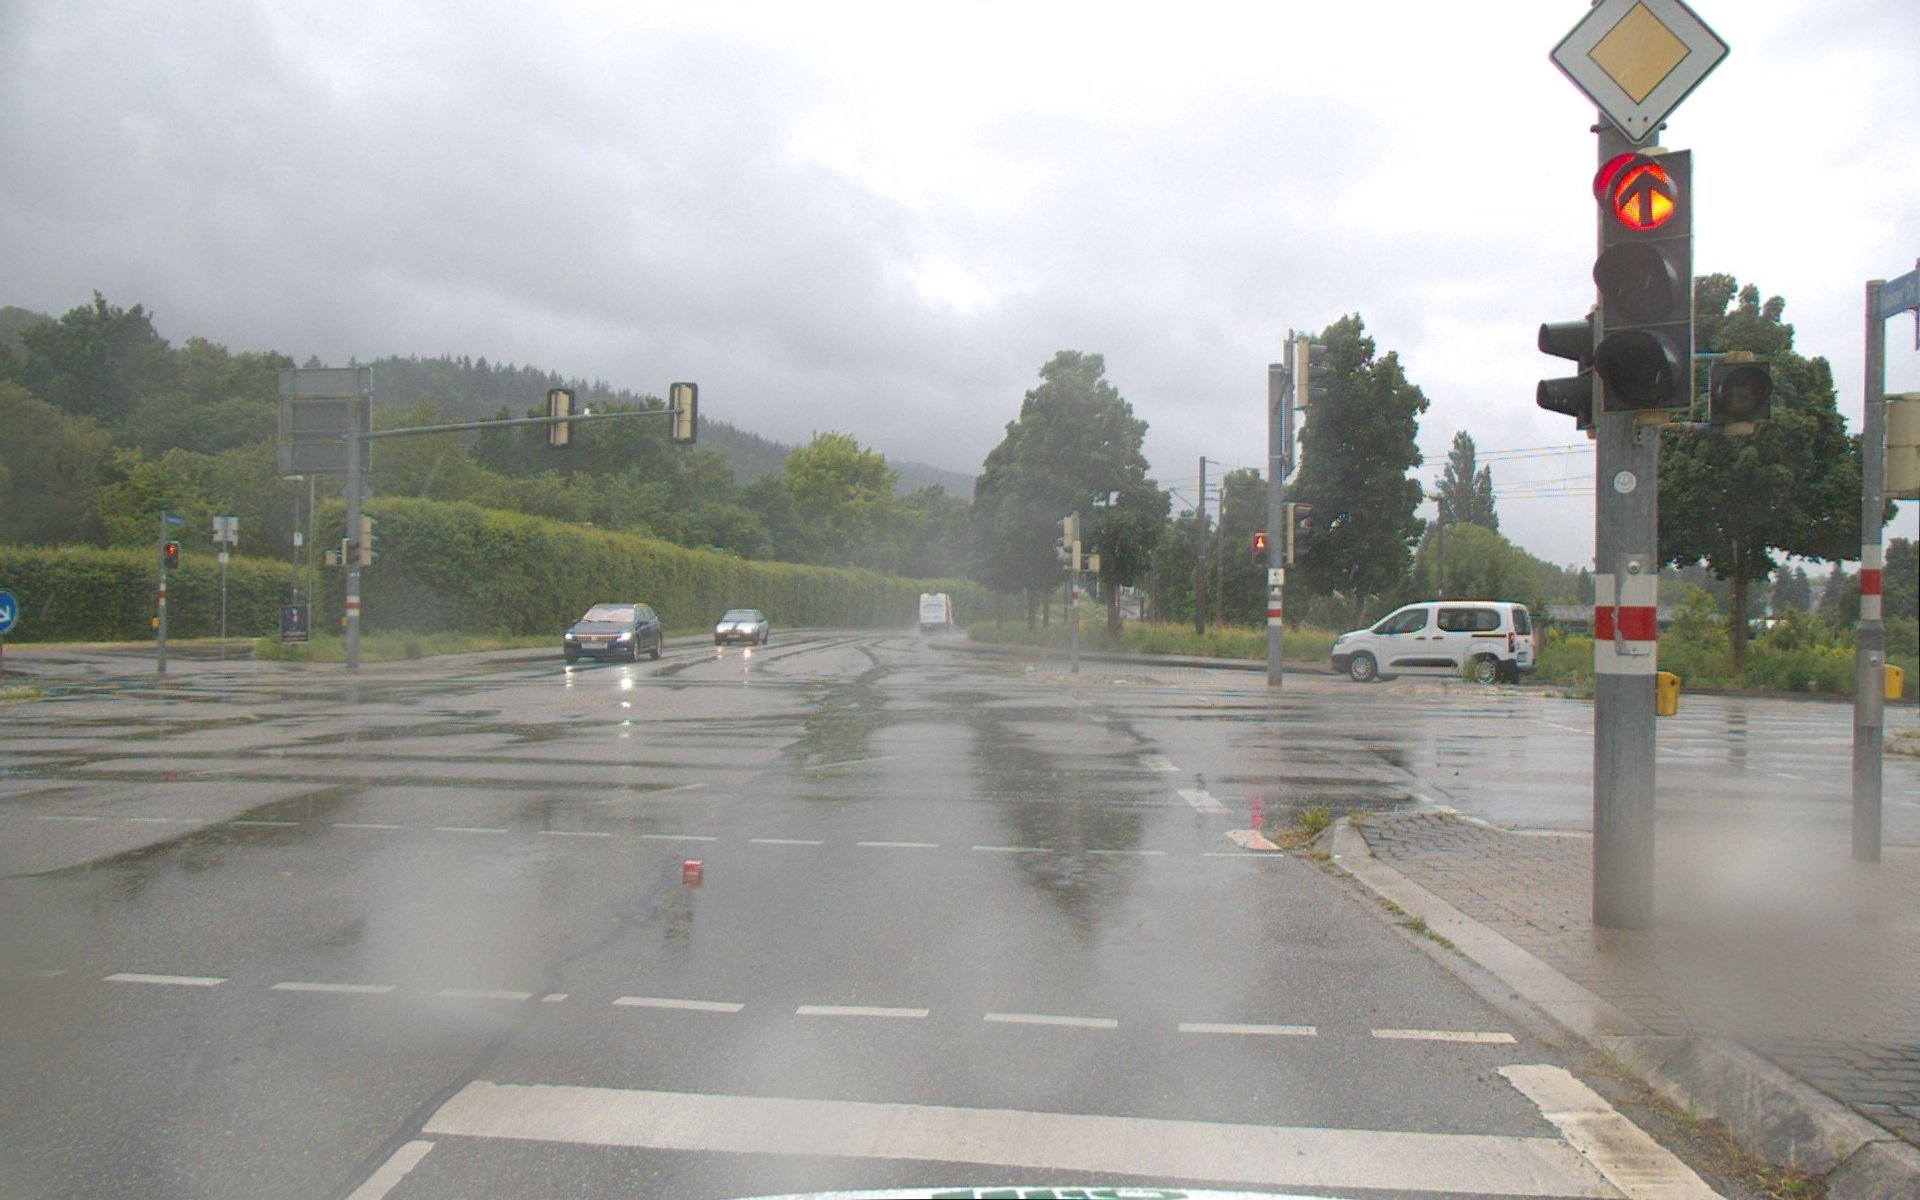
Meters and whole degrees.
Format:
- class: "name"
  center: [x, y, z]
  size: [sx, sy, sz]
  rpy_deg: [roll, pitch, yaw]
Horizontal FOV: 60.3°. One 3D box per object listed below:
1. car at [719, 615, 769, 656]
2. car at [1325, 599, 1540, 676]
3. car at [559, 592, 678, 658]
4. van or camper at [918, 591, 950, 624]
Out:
- class: "car"
  center: [-8.447, 1.370, 64.838]
  size: [1.526, 1.507, 3.360]
  rpy_deg: [1, 0, 0]
- class: "car"
  center: [10.392, 0.777, 36.469]
  size: [4.257, 1.580, 1.817]
  rpy_deg: [0, 0, 33]
- class: "car"
  center: [-8.907, 0.626, 43.546]
  size: [1.839, 1.601, 4.647]
  rpy_deg: [-1, 0, 4]
- class: "van or camper"
  center: [-1.764, 0.484, 113.312]
  size: [2.109, 2.207, 4.864]
  rpy_deg: [1, 0, 0]
